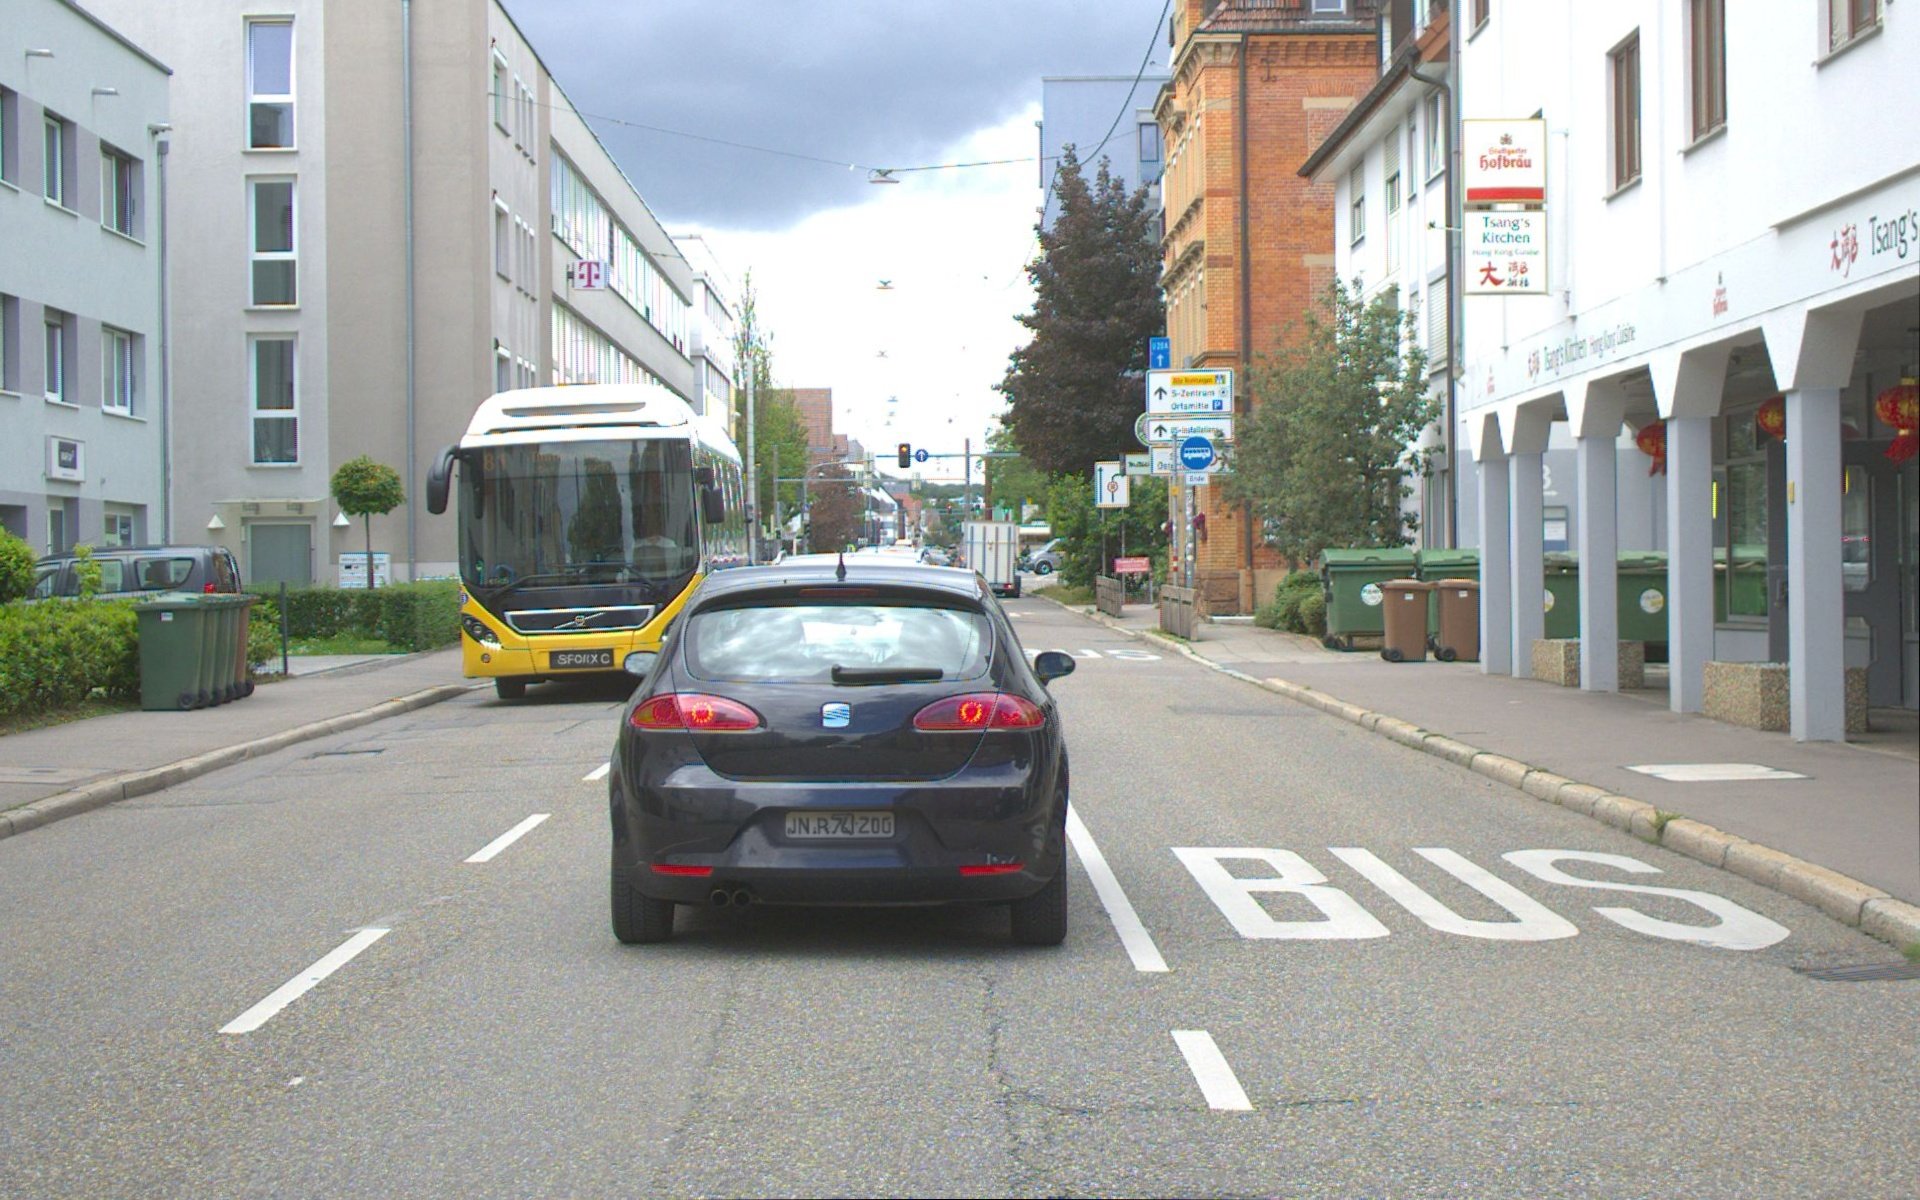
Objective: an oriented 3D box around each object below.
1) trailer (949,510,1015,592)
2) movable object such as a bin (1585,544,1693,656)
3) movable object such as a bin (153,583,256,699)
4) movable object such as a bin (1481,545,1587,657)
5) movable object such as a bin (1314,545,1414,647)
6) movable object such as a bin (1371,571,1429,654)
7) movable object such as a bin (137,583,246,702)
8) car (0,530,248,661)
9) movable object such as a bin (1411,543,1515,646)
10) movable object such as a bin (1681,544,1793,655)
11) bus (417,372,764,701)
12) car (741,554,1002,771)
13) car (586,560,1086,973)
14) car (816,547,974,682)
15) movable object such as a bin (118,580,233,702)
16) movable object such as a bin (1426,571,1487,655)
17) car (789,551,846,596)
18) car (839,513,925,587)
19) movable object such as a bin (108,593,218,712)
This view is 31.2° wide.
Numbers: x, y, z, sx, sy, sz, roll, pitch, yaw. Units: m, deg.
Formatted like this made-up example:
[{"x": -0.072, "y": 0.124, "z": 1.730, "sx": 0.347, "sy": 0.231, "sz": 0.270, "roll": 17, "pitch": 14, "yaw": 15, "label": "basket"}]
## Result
[{"x": 0.695, "y": -1.625, "z": 112.960, "sx": 1.993, "sy": 2.598, "sz": 5.349, "roll": -1, "pitch": 1, "yaw": -1, "label": "trailer"}, {"x": 8.799, "y": -0.009, "z": 44.584, "sx": 1.209, "sy": 1.412, "sz": 1.259, "roll": 0, "pitch": 1, "yaw": 3, "label": "movable object such as a bin"}, {"x": -7.642, "y": 0.406, "z": 34.798, "sx": 0.940, "sy": 1.147, "sz": 0.613, "roll": -1, "pitch": 1, "yaw": -5, "label": "movable object such as a bin"}, {"x": 7.435, "y": 0.002, "z": 44.600, "sx": 1.209, "sy": 1.412, "sz": 1.259, "roll": 0, "pitch": 1, "yaw": 3, "label": "movable object such as a bin"}, {"x": 5.741, "y": -0.063, "z": 48.895, "sx": 1.267, "sy": 1.412, "sz": 1.162, "roll": -1, "pitch": 1, "yaw": 0, "label": "movable object such as a bin"}, {"x": 5.753, "y": 0.161, "z": 44.976, "sx": 0.683, "sy": 1.063, "sz": 0.971, "roll": 0, "pitch": 1, "yaw": 3, "label": "movable object such as a bin"}, {"x": -7.611, "y": 0.414, "z": 34.095, "sx": 0.948, "sy": 1.147, "sz": 0.749, "roll": -1, "pitch": 1, "yaw": -5, "label": "movable object such as a bin"}, {"x": -11.734, "y": -0.057, "z": 45.620, "sx": 4.163, "sy": 1.662, "sz": 1.724, "roll": -1, "pitch": 0, "yaw": 3, "label": "car"}, {"x": 7.097, "y": -0.087, "z": 48.610, "sx": 1.267, "sy": 1.430, "sz": 1.307, "roll": -1, "pitch": 1, "yaw": 0, "label": "movable object such as a bin"}, {"x": 10.056, "y": -0.016, "z": 44.543, "sx": 1.209, "sy": 1.412, "sz": 1.259, "roll": 0, "pitch": 1, "yaw": 3, "label": "movable object such as a bin"}, {"x": -4.119, "y": -0.773, "z": 41.149, "sx": 2.942, "sy": 3.262, "sz": 12.009, "roll": -2, "pitch": 1, "yaw": -1, "label": "bus"}, {"x": -0.654, "y": 0.410, "z": 25.843, "sx": 1.803, "sy": 1.487, "sz": 3.738, "roll": -1, "pitch": 1, "yaw": -1, "label": "car"}, {"x": -0.459, "y": 0.571, "z": 14.138, "sx": 1.765, "sy": 1.428, "sz": 3.828, "roll": 0, "pitch": 1, "yaw": -1, "label": "car"}, {"x": -0.790, "y": 0.139, "z": 41.637, "sx": 1.803, "sy": 1.547, "sz": 3.738, "roll": -1, "pitch": 1, "yaw": -1, "label": "car"}, {"x": -7.581, "y": 0.392, "z": 33.254, "sx": 0.956, "sy": 1.147, "sz": 0.840, "roll": -1, "pitch": 1, "yaw": -5, "label": "movable object such as a bin"}, {"x": 6.483, "y": 0.160, "z": 44.950, "sx": 0.698, "sy": 1.075, "sz": 0.971, "roll": 0, "pitch": 1, "yaw": 3, "label": "movable object such as a bin"}, {"x": -5.058, "y": -0.948, "z": 122.353, "sx": 1.878, "sy": 1.446, "sz": 4.214, "roll": -3, "pitch": 1, "yaw": -1, "label": "car"}, {"x": -1.702, "y": -1.079, "z": 74.710, "sx": 1.803, "sy": 1.547, "sz": 3.738, "roll": -1, "pitch": 1, "yaw": -1, "label": "car"}, {"x": -7.506, "y": 0.486, "z": 32.393, "sx": 0.894, "sy": 1.085, "sz": 0.793, "roll": -1, "pitch": 1, "yaw": -5, "label": "movable object such as a bin"}]
